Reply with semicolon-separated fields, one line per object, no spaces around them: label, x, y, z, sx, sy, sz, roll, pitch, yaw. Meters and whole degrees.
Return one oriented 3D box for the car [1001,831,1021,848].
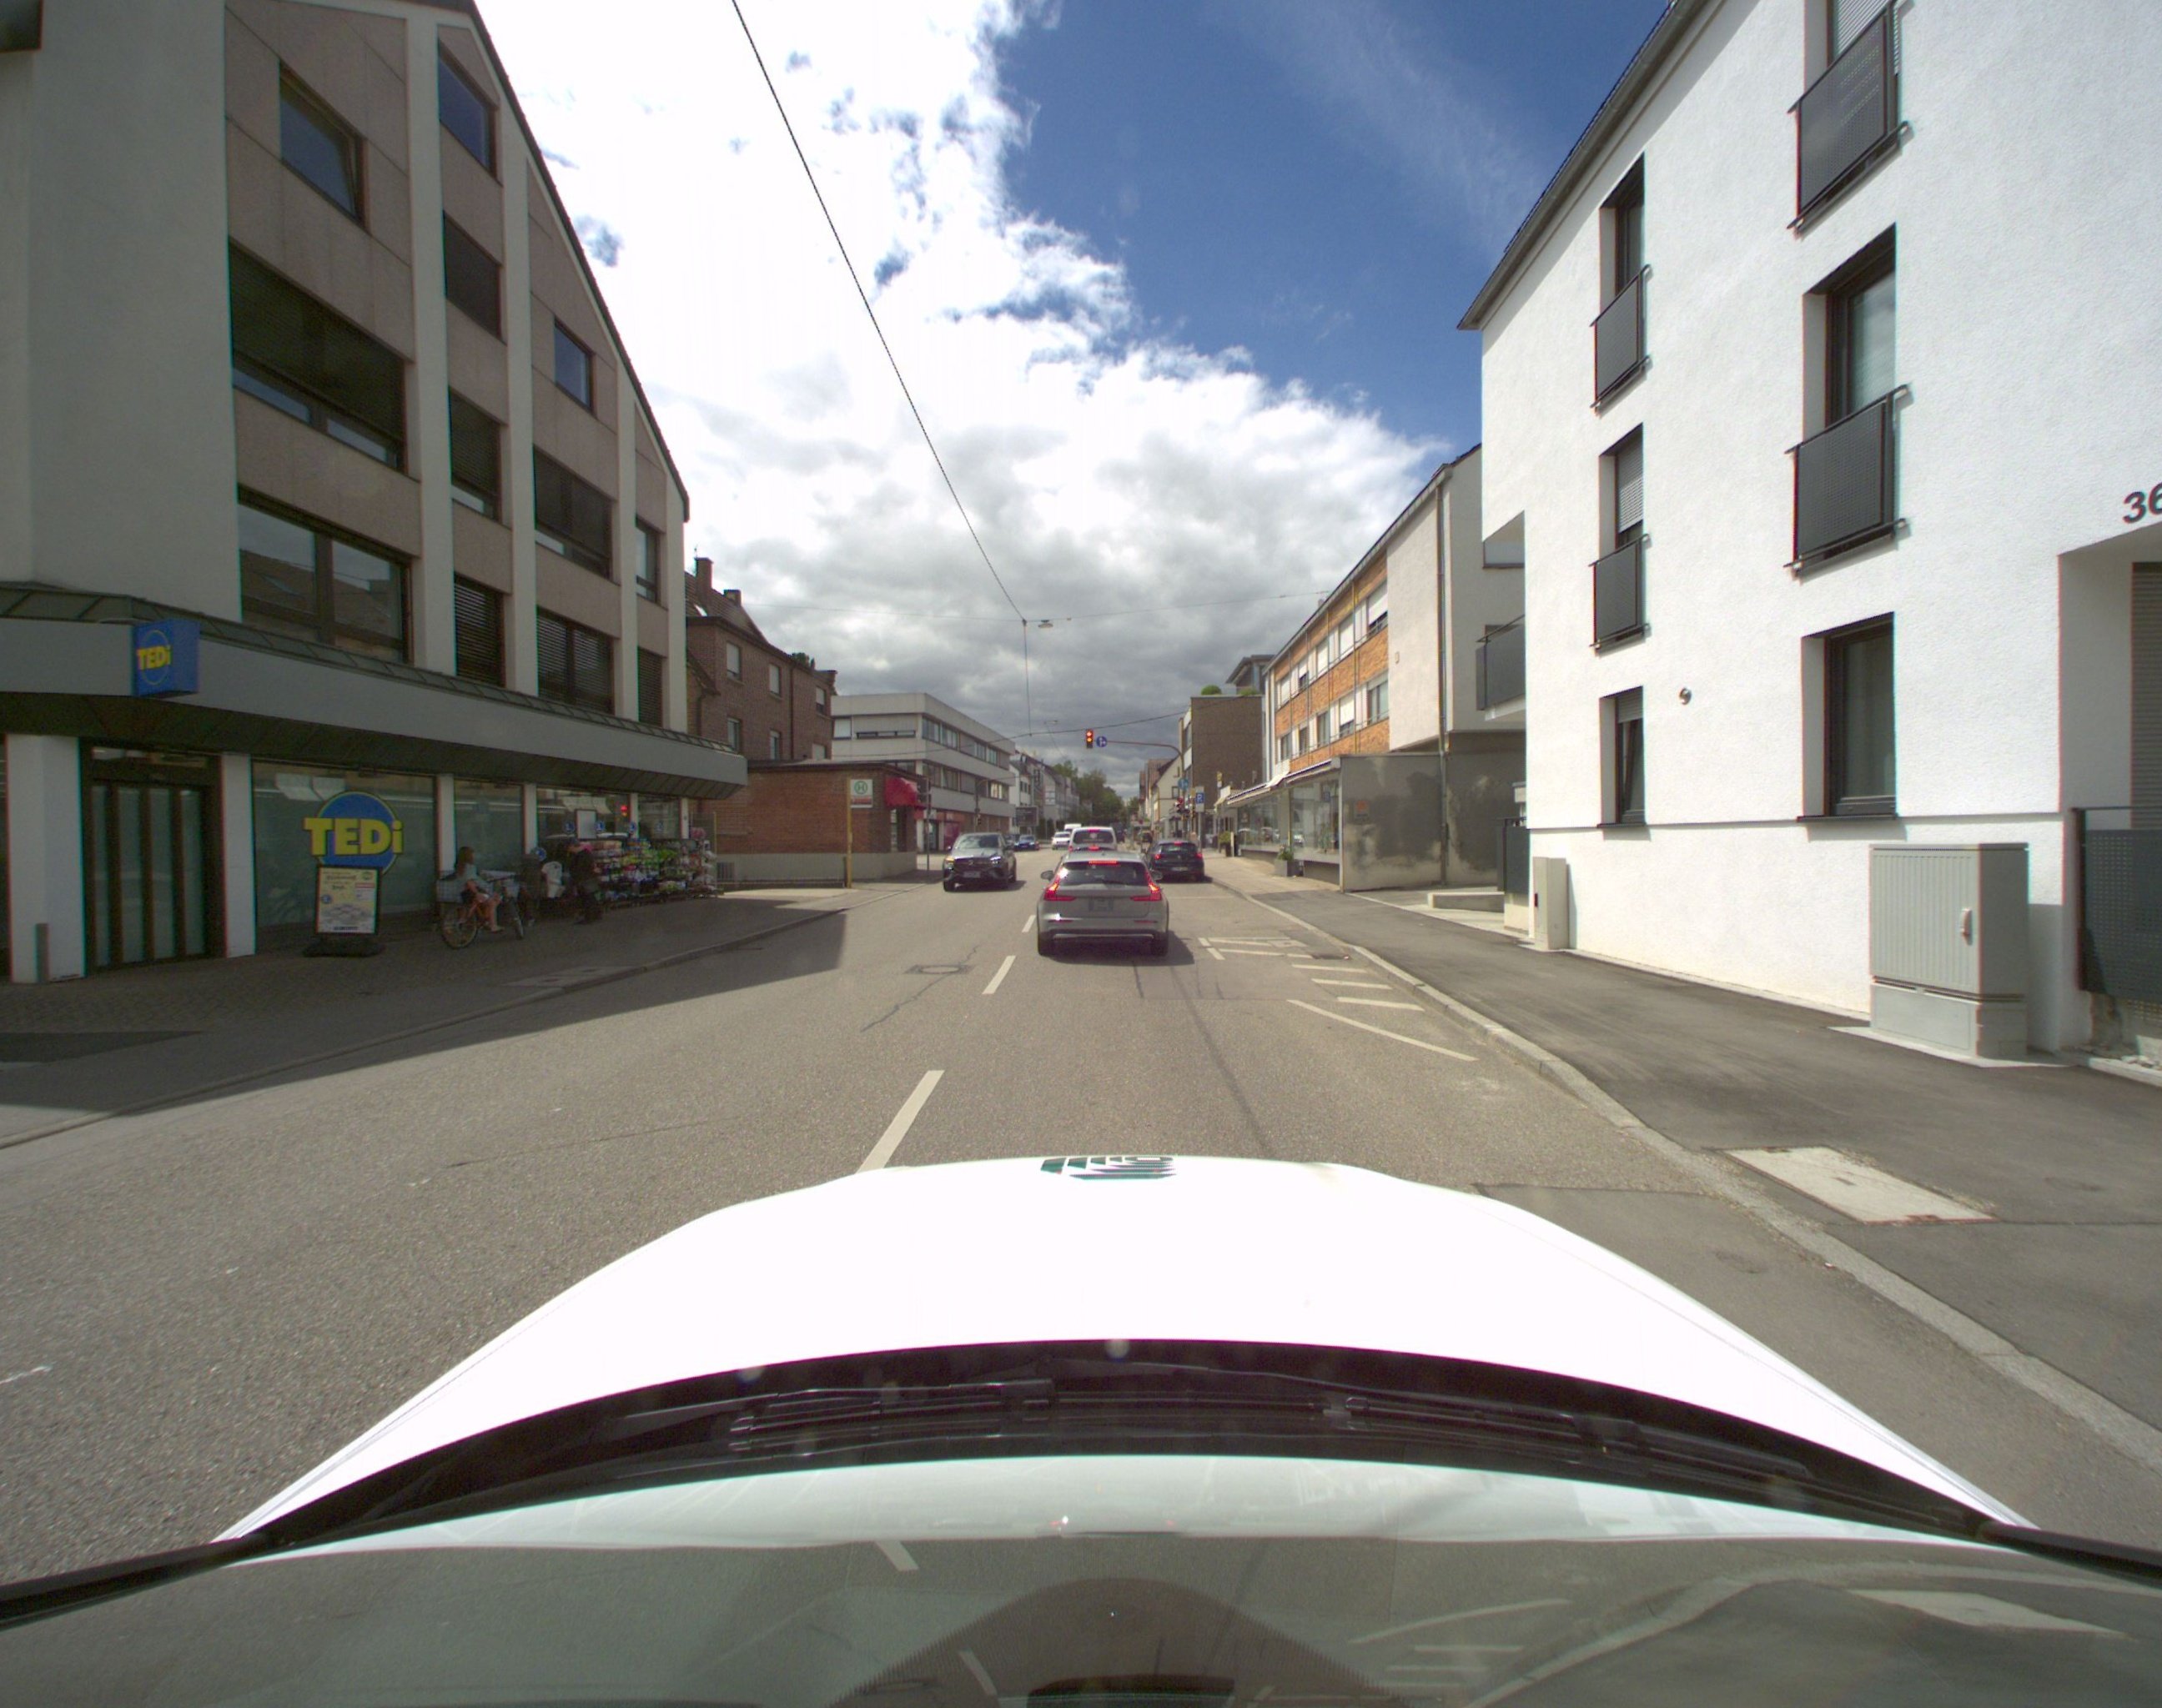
car;-6.560;-1.347;76.560;1.379;1.541;3.400;-1;-1;2

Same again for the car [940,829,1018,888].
car;-3.209;0.136;26.453;1.833;1.726;4.353;-1;0;1

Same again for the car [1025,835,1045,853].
car;-5.391;-1.132;96.347;1.986;2.014;4.001;1;-1;2

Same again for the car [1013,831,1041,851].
car;-4.660;-1.086;71.331;1.864;1.640;4.005;1;-1;4

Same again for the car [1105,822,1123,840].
car;4.575;-3.169;112.446;2.427;2.318;5.329;1;0;2

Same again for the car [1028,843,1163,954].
car;0.267;0.599;12.691;1.737;1.417;4.002;-1;0;2

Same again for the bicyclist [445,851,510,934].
bicyclist;-8.814;0.546;11.911;0.456;1.179;0.625;-1;-1;2

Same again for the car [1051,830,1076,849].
car;-1.599;-1.323;74.756;1.864;1.640;4.005;1;-1;4

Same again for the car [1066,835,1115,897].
car;0.293;0.290;22.713;1.269;1.527;3.052;-1;2;2

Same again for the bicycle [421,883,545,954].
bicycle;-8.749;0.919;12.005;0.465;0.861;1.778;1;1;2

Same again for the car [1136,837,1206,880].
car;3.053;0.101;28.379;1.749;1.370;3.996;-1;2;-4

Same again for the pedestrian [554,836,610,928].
pedestrian;-8.927;0.491;14.585;0.625;1.602;0.563;0;-1;6

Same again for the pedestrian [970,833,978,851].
pedestrian;-8.431;-0.938;64.244;0.515;1.436;0.487;-1;0;-17

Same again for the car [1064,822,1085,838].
car;-0.687;-2.614;89.531;1.864;1.640;4.005;-1;-1;4

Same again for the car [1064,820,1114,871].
car;0.377;-0.296;31.939;1.829;1.862;3.852;0;-1;2
